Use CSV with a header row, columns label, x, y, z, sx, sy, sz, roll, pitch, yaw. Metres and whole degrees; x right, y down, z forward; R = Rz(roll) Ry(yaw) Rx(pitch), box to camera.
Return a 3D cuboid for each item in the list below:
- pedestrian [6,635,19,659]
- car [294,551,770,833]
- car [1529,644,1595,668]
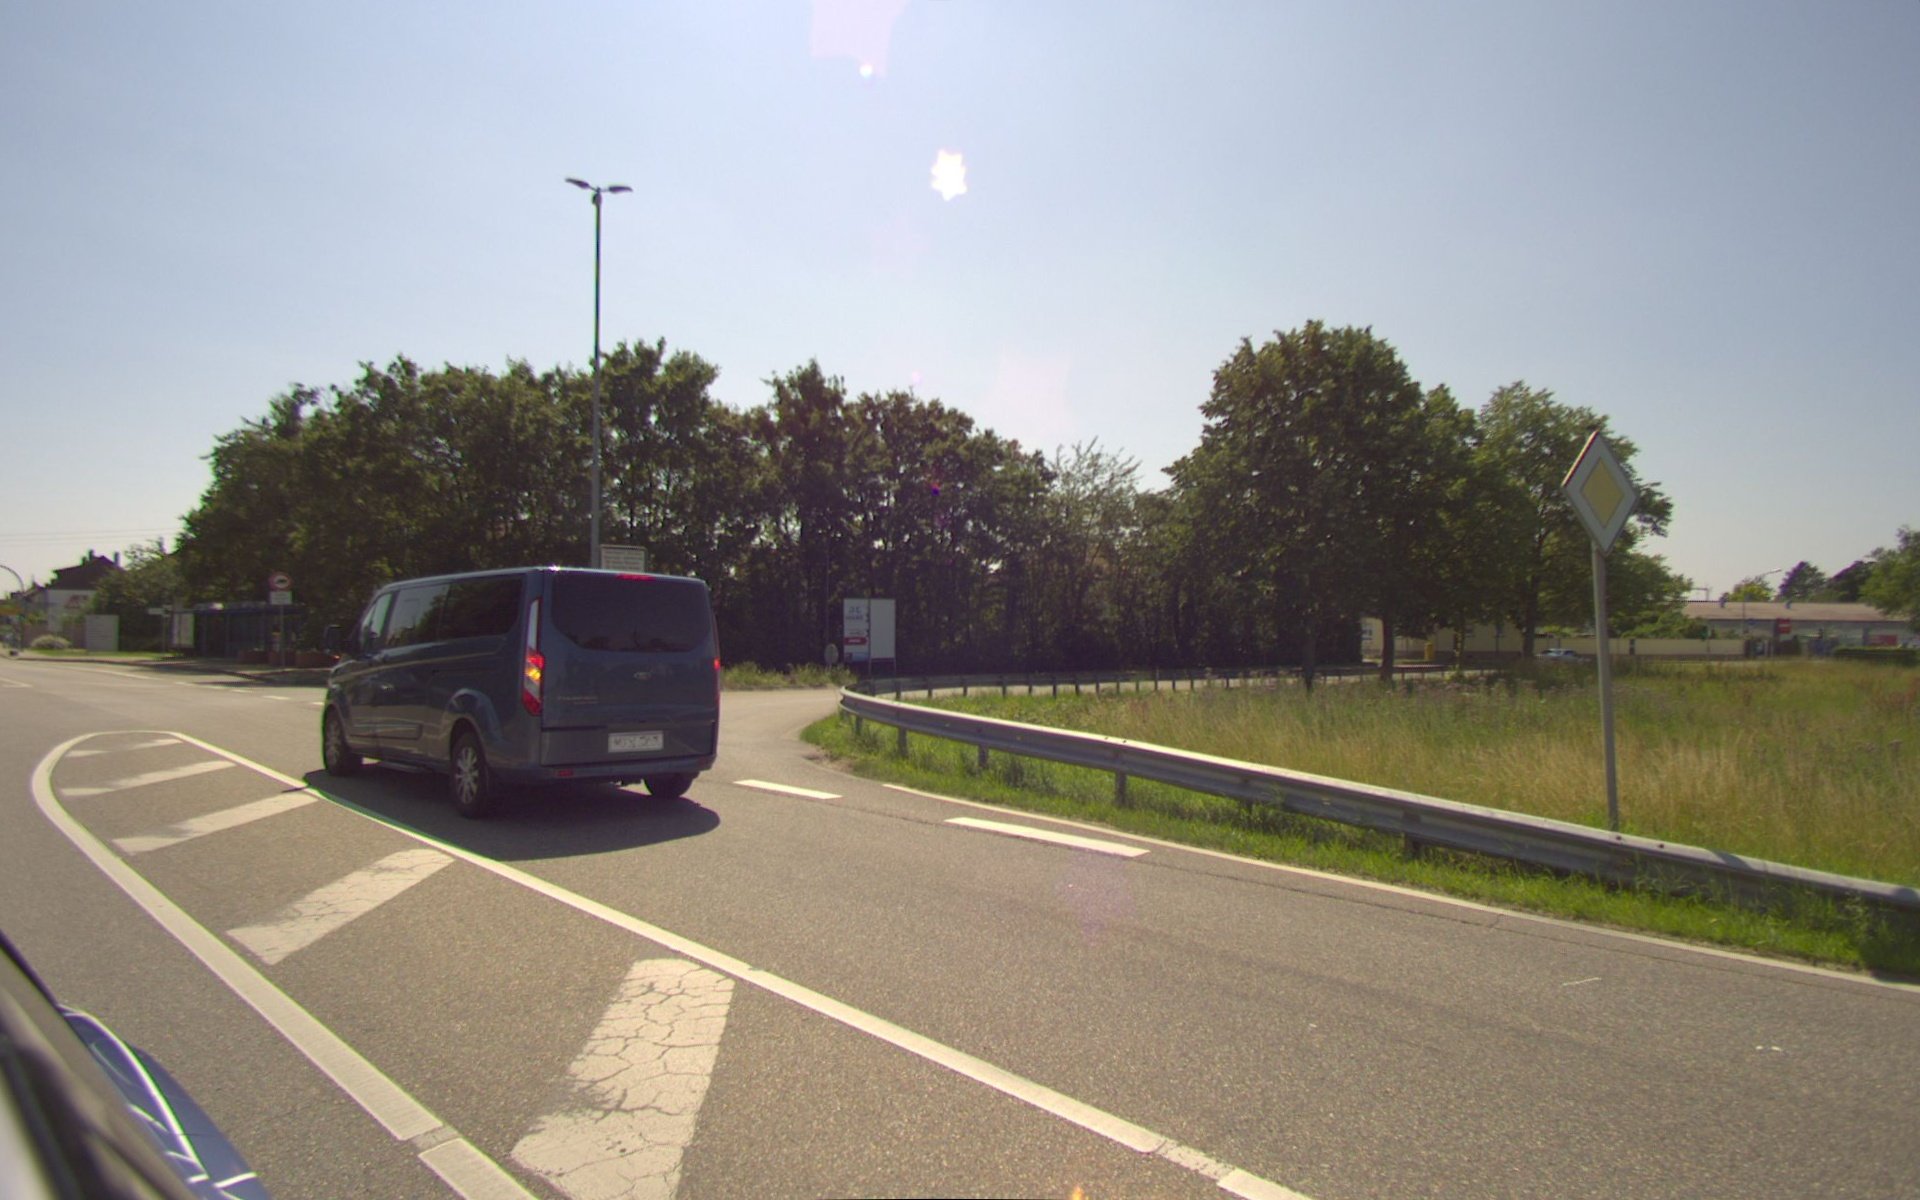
label,x,y,z,sx,sy,sz,roll,pitch,yaw
pedestrian,-66.557,3.276,71.100,0.688,1.620,0.607,-2,0,44
car,-4.291,0.750,9.642,5.246,1.966,2.121,-2,-4,42
car,37.640,3.475,63.225,4.340,1.482,1.646,1,-3,-31
